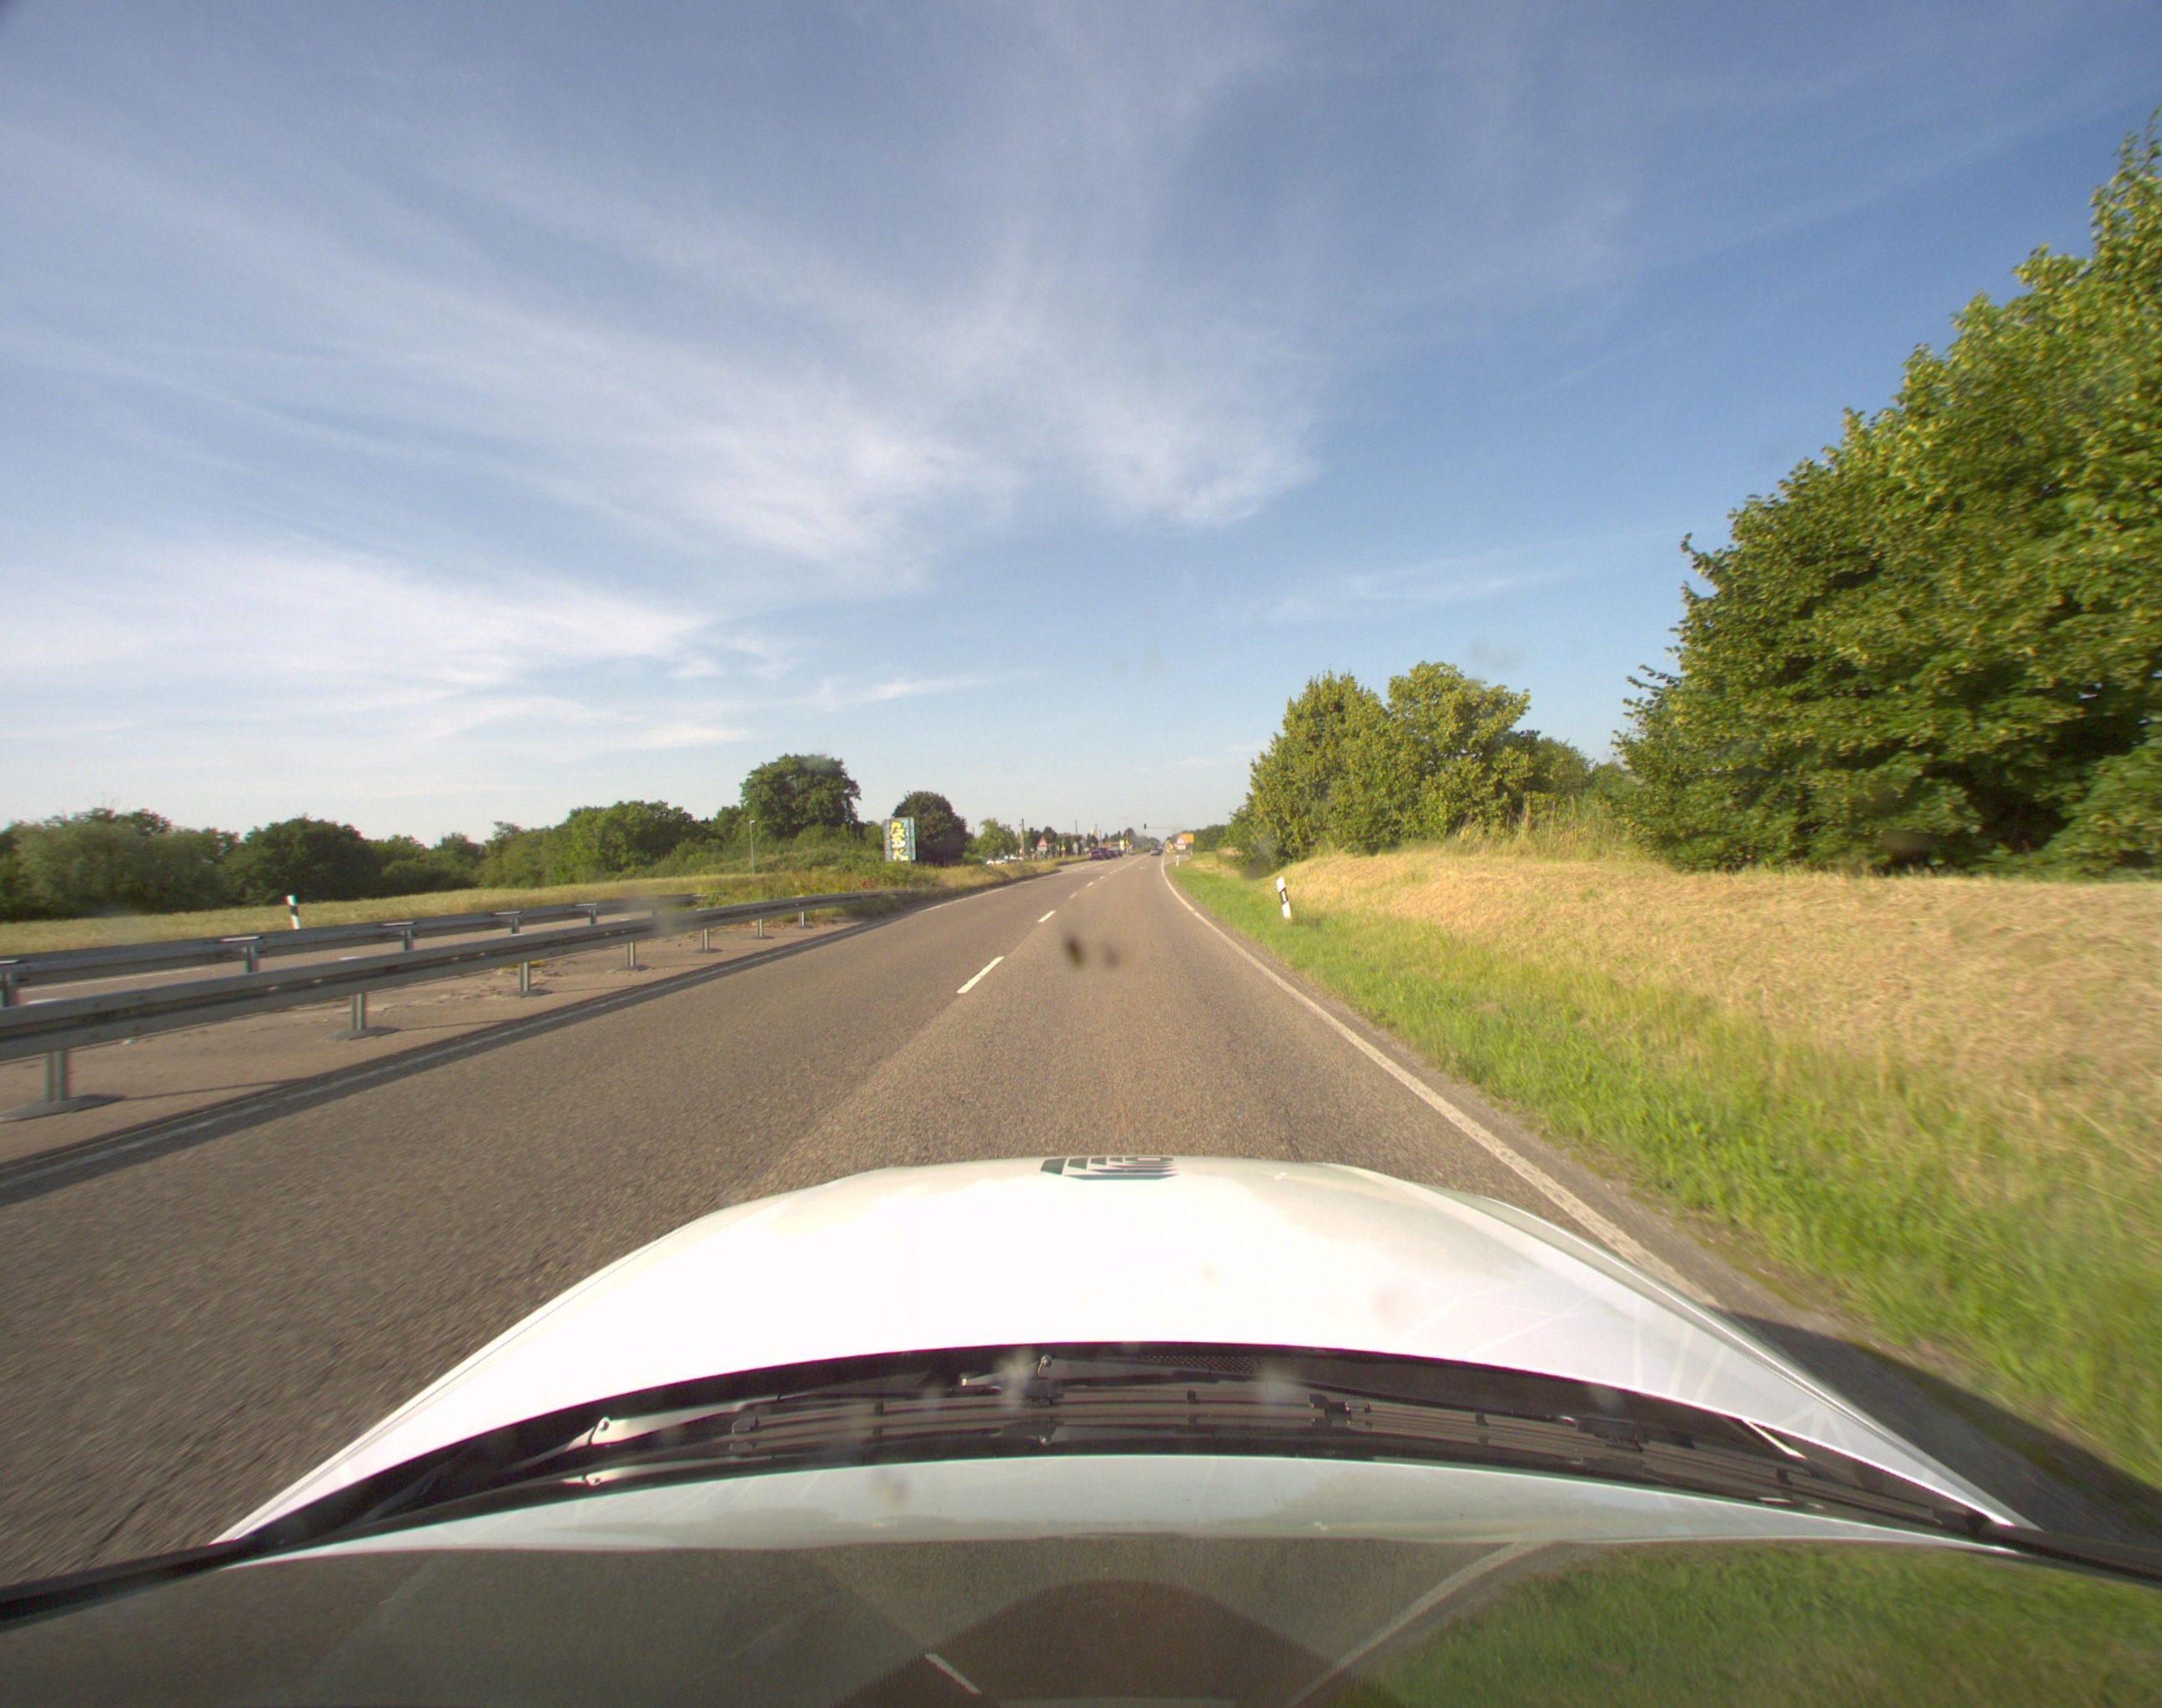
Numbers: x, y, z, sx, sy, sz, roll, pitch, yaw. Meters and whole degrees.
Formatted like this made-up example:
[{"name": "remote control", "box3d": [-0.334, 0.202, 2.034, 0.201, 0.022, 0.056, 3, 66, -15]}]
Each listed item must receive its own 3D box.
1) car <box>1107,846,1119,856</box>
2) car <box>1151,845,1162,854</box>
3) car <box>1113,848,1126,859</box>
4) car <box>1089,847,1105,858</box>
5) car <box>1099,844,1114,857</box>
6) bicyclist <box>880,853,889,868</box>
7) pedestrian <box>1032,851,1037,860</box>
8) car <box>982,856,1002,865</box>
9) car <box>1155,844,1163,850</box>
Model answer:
[{"name": "car", "box3d": [5.476, -0.529, 138.685, 1.761, 1.471, 4.023, -2, 1, 7]}, {"name": "car", "box3d": [14.156, -0.885, 152.562, 1.983, 1.552, 4.008, -2, 1, 7]}, {"name": "car", "box3d": [7.449, -0.125, 156.277, 1.983, 2.014, 4.846, -3, -2, 7]}, {"name": "car", "box3d": [2.197, -0.258, 113.808, 1.723, 1.456, 4.529, -2, 1, 7]}, {"name": "car", "box3d": [3.750, -0.540, 120.497, 1.723, 1.855, 4.529, -2, 1, 7]}, {"name": "bicyclist", "box3d": [-18.534, 0.623, 76.711, 0.464, 1.389, 1.049, -3, 0, 6]}, {"name": "pedestrian", "box3d": [-9.117, 0.304, 159.869, 0.912, 1.706, 1.067, -1, -1, 0]}, {"name": "car", "box3d": [-17.978, 1.296, 165.030, 3.984, 1.662, 1.882, -1, -1, -8]}, {"name": "car", "box3d": [21.903, -1.950, 228.558, 1.984, 1.596, 4.006, -3, 0, 5]}]
